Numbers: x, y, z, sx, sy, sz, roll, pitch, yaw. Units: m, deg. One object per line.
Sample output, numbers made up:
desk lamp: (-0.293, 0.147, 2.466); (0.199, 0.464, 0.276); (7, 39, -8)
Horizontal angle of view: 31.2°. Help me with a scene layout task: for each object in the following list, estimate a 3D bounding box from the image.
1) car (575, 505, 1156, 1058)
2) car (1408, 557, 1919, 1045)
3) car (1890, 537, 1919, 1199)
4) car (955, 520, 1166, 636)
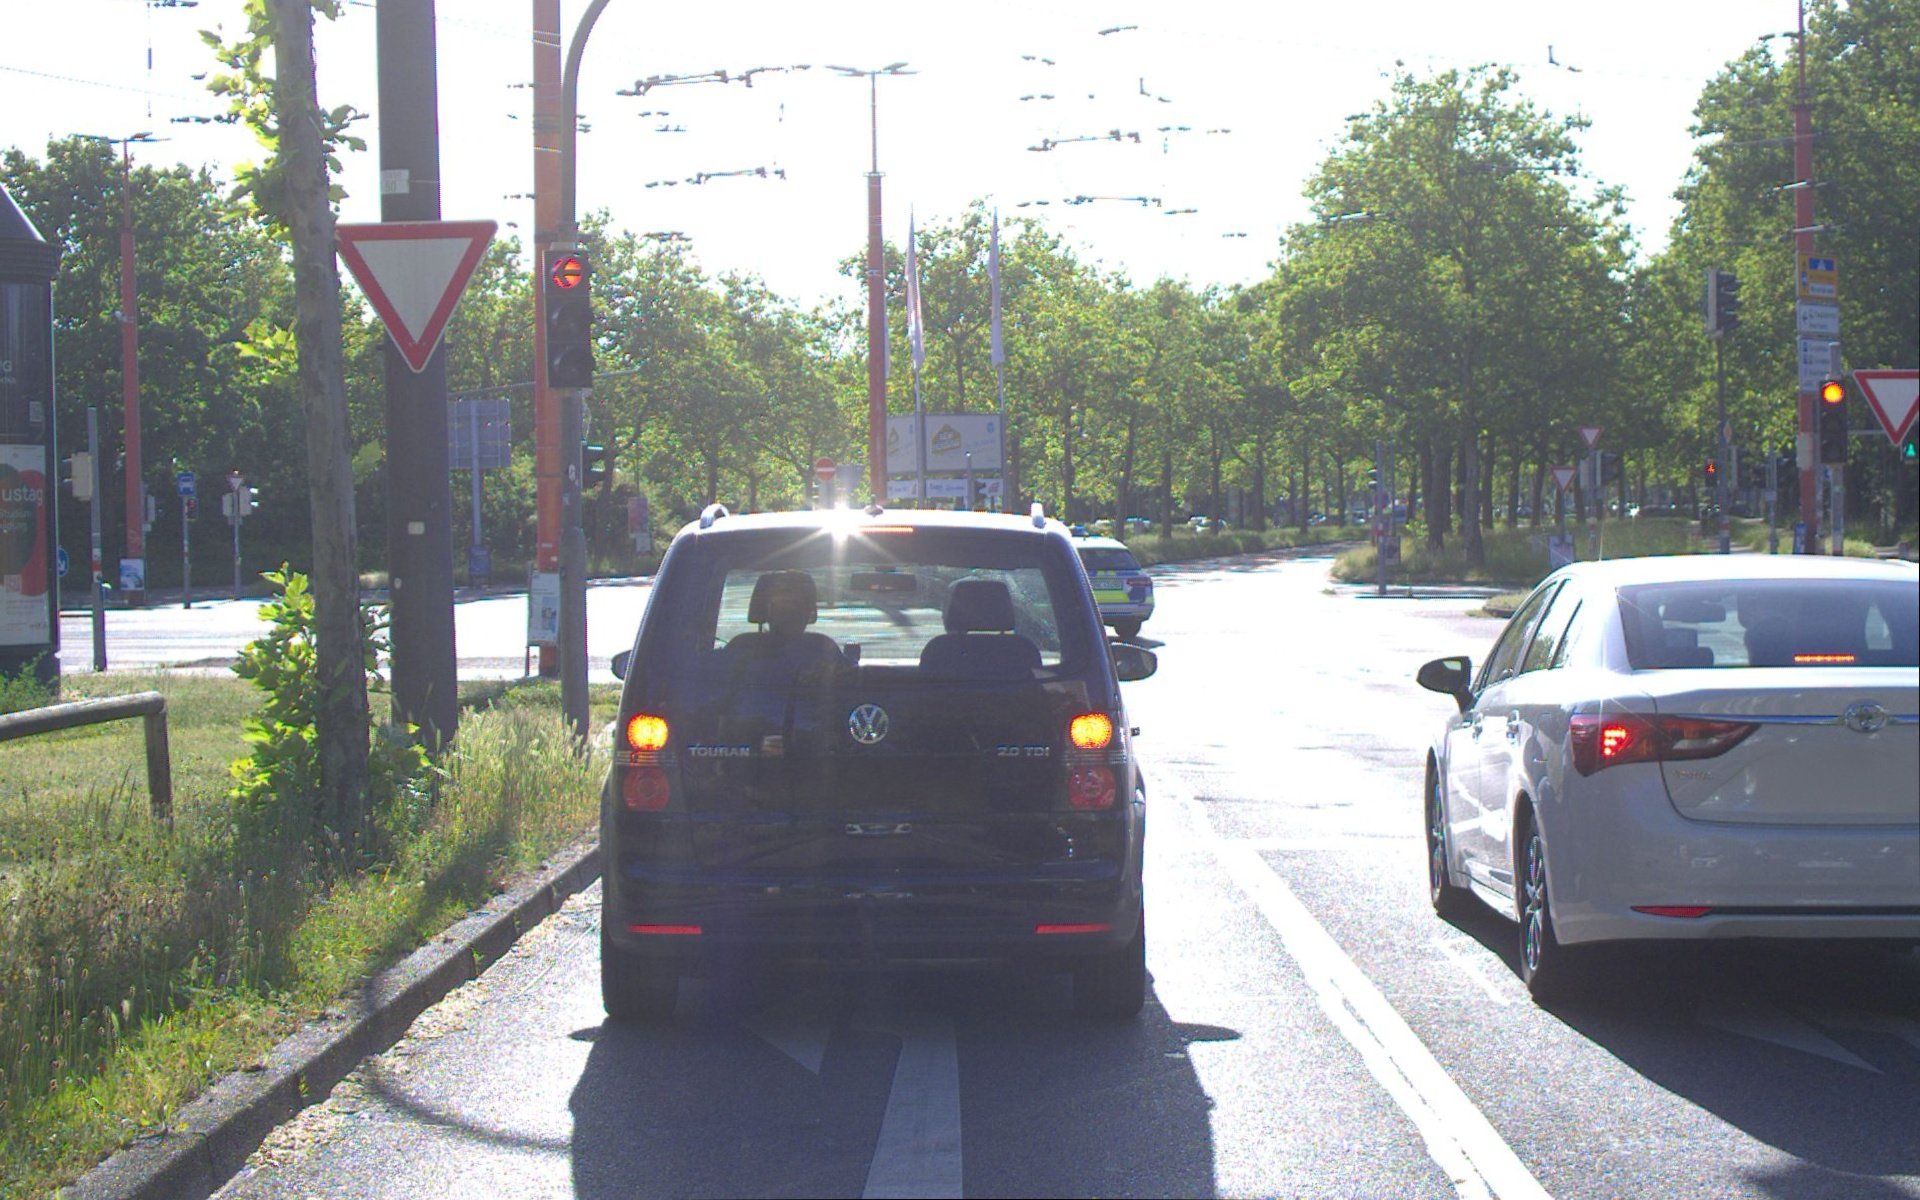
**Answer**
car: (-0.303, 0.500, 12.078); (1.700, 1.616, 3.897); (0, 1, -1)
car: (2.714, 0.577, 12.377); (1.720, 1.433, 4.198); (1, 1, 1)
car: (2.895, 0.650, 5.813); (1.654, 1.495, 3.615); (1, 1, 0)
car: (1.451, -0.351, 51.395); (1.797, 1.650, 4.115); (-1, 1, -19)
